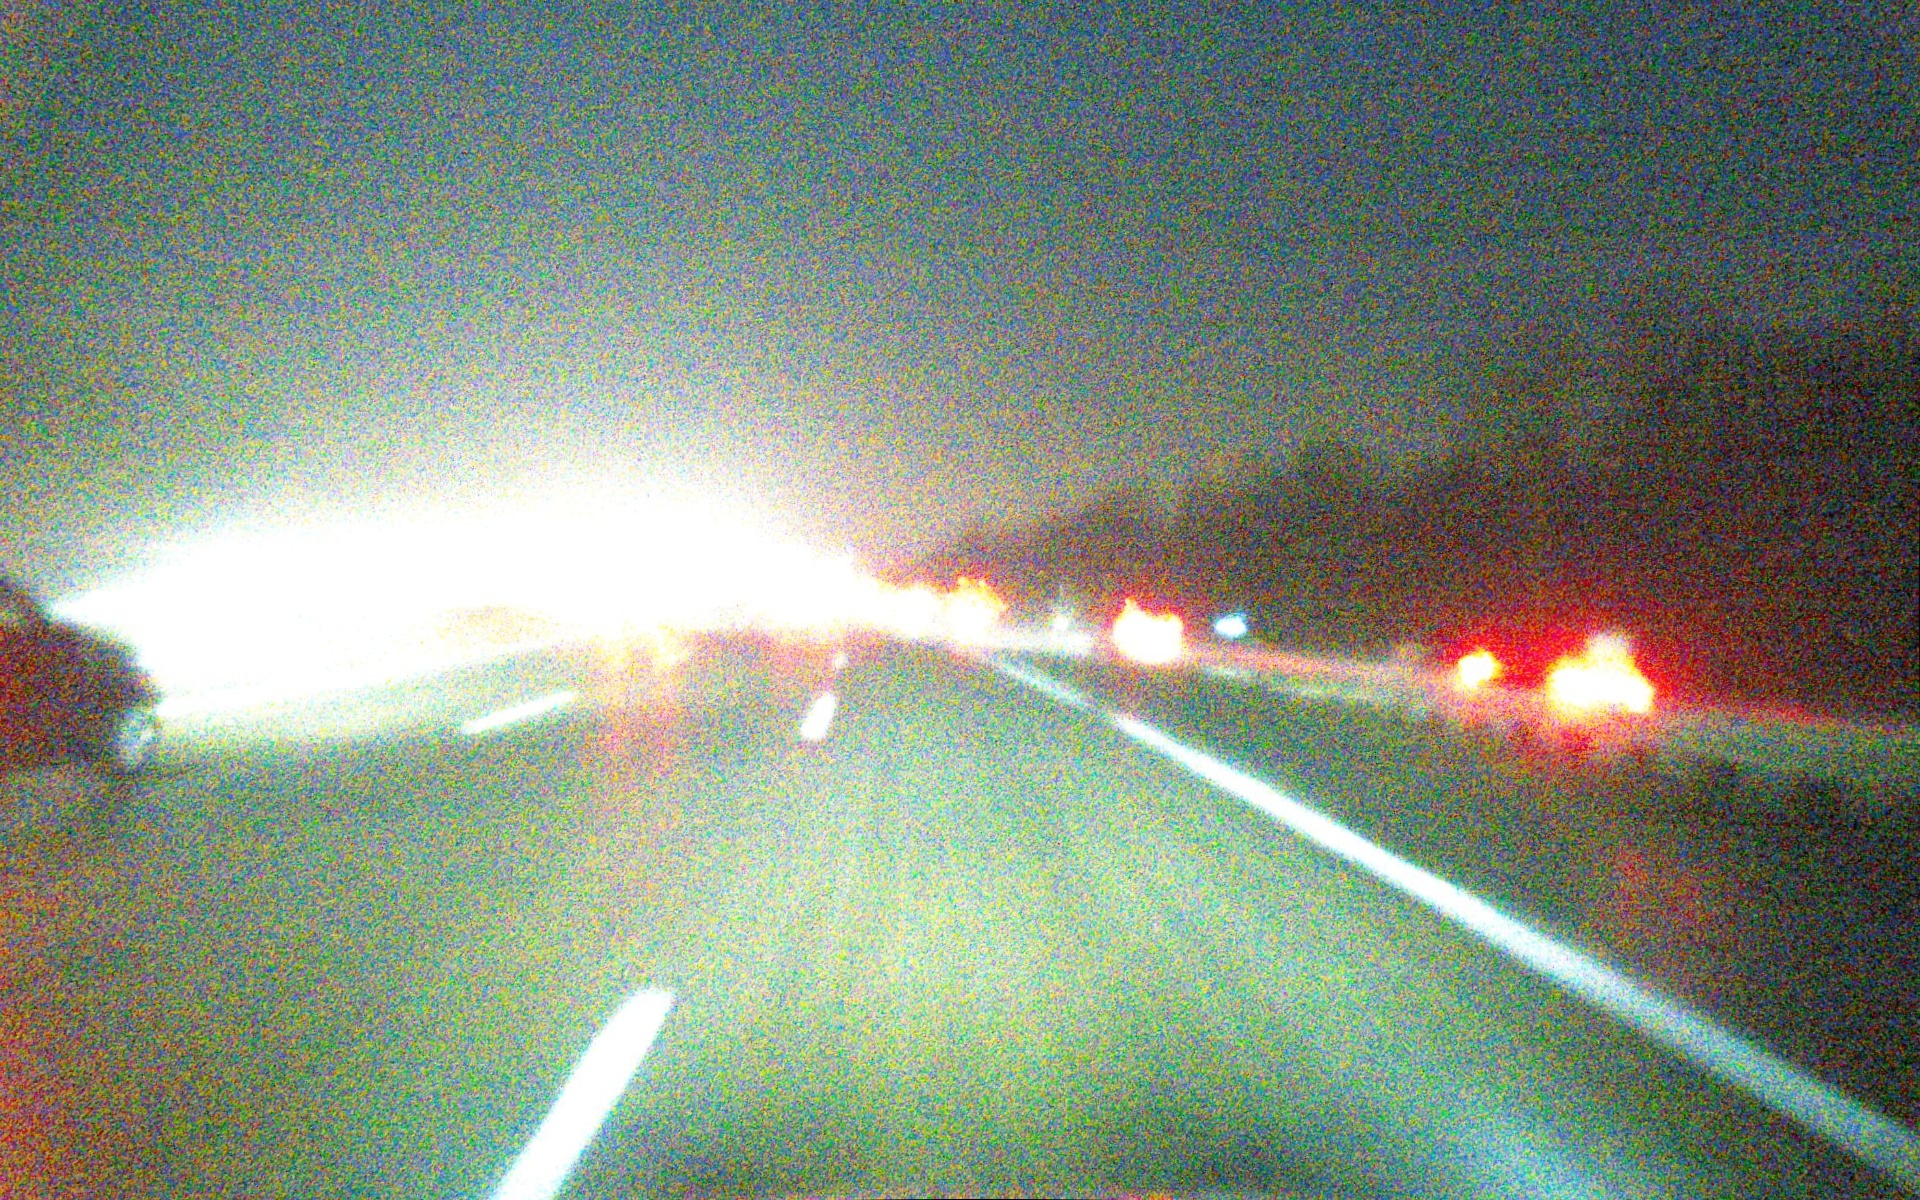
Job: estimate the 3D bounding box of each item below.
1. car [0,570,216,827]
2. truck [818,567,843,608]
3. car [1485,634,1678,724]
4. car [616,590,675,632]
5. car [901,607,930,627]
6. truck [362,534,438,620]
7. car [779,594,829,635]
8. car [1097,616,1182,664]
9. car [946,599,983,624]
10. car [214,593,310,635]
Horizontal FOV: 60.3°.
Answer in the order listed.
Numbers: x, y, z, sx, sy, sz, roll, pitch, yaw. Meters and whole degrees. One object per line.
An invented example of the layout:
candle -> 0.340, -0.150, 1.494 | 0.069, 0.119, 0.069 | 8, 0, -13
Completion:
car -> -6.951, 0.581, 11.349 | 1.822, 1.567, 4.745 | 3, 0, -5
truck -> -10.581, -0.977, 135.019 | 1.954, 3.096, 6.458 | 0, -1, -5
car -> 12.141, 1.498, 32.647 | 1.954, 1.474, 4.333 | 3, 0, -3
car -> -10.000, 0.379, 52.757 | 1.631, 1.258, 3.754 | 0, -1, -8
car -> -3.065, 1.154, 113.457 | 1.552, 1.268, 3.061 | 4, -1, -10
truck -> -28.743, -1.097, 85.118 | 2.488, 4.229, 5.634 | 0, -1, -6
car -> -5.914, 0.541, 63.102 | 1.766, 1.513, 3.997 | 0, 0, -3
car -> 6.255, 1.369, 58.268 | 2.018, 1.545, 5.010 | 0, 0, -5
car -> 0.248, 0.611, 92.399 | 1.552, 1.268, 3.062 | 2, 0, -10
car -> -21.877, 0.469, 51.968 | 1.629, 1.258, 3.758 | 0, -1, -4
